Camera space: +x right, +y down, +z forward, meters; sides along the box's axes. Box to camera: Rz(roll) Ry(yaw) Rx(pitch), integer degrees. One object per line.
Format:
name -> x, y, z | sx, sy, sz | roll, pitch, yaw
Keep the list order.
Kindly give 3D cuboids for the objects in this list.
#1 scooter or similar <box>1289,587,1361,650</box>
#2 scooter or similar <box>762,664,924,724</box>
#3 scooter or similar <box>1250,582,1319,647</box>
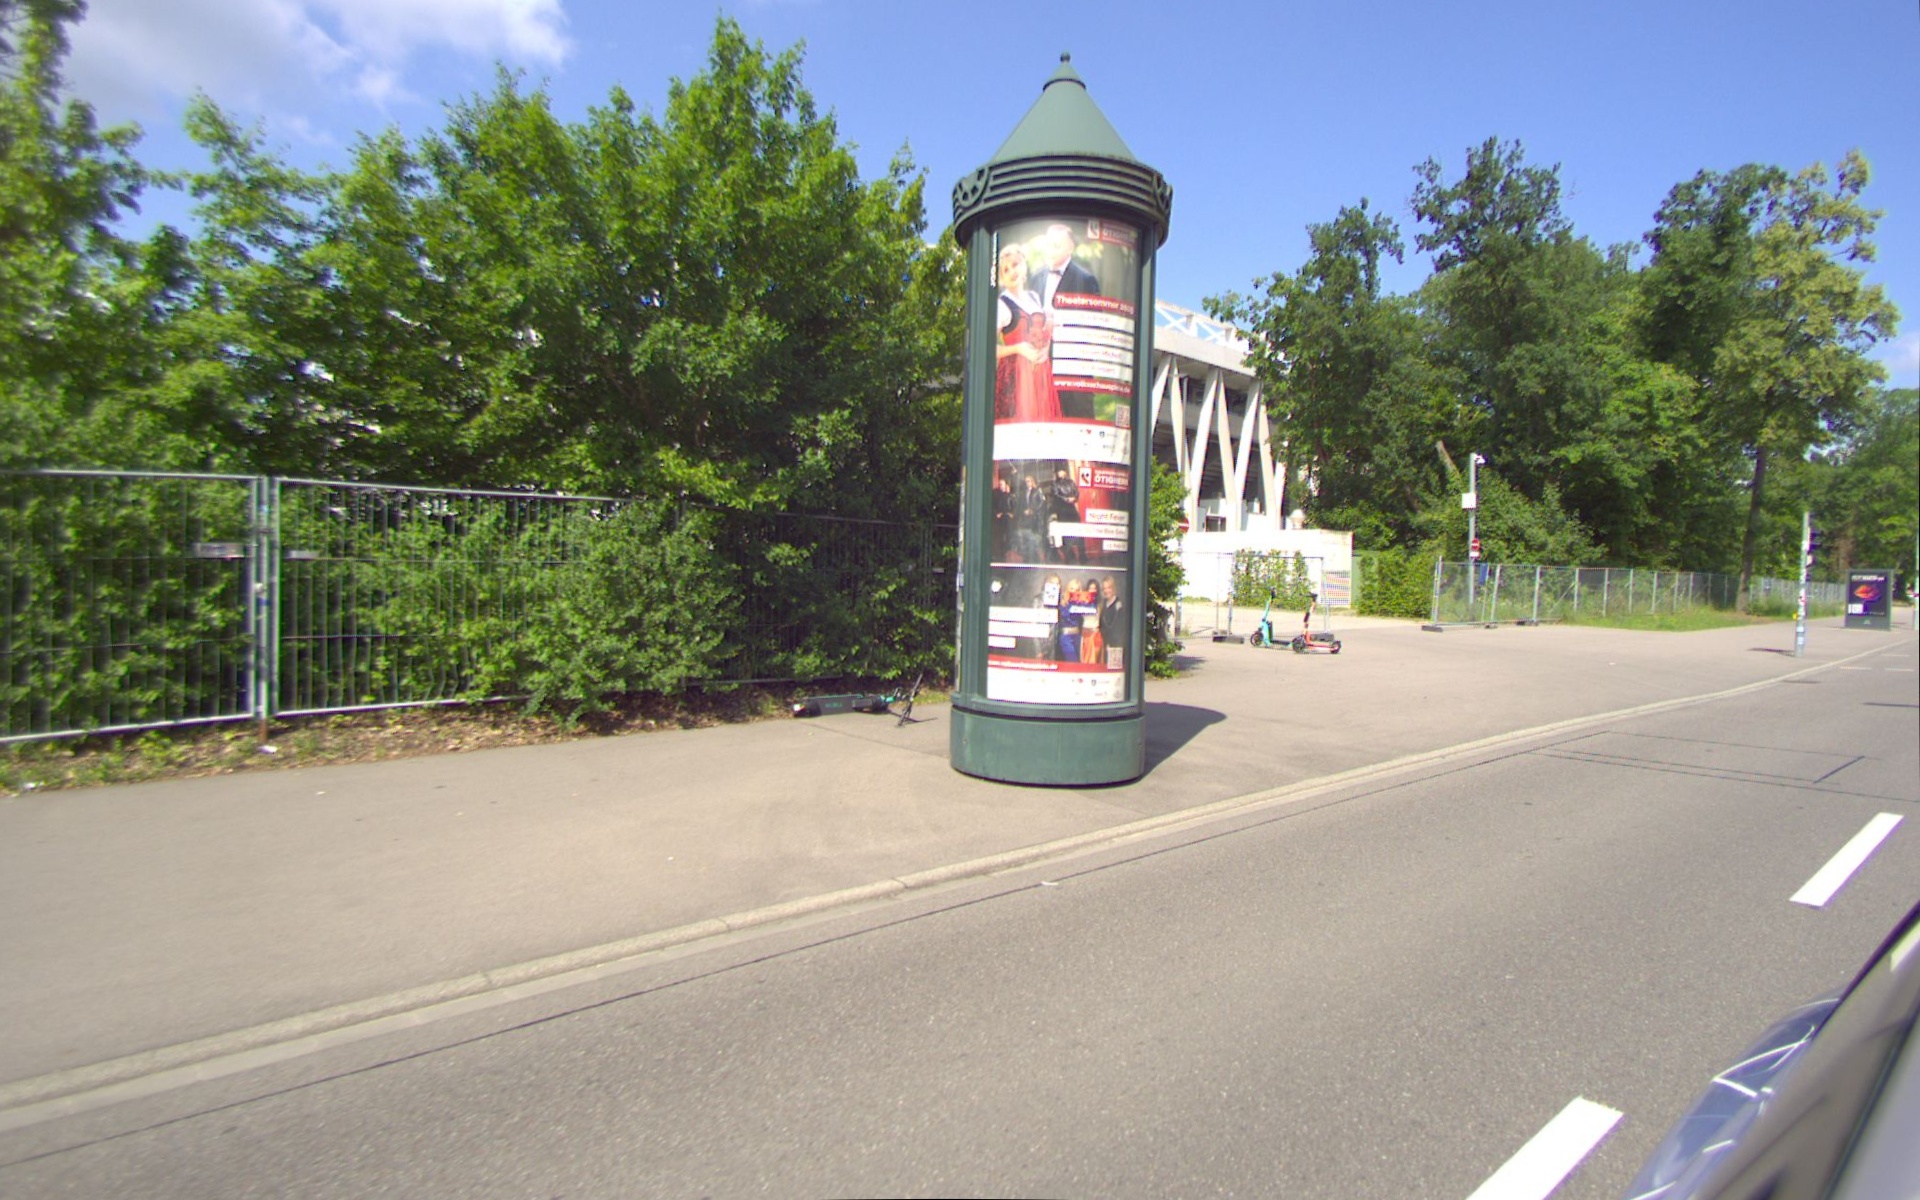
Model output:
scooter or similar -> 7.275, 0.368, 20.180 | 1.284, 1.215, 0.408 | 1, 1, -14
scooter or similar -> -1.189, 0.944, 10.425 | 1.449, 0.393, 0.854 | -2, 4, -43
scooter or similar -> 6.709, 0.283, 20.954 | 1.307, 1.267, 0.401 | 3, 2, 43
